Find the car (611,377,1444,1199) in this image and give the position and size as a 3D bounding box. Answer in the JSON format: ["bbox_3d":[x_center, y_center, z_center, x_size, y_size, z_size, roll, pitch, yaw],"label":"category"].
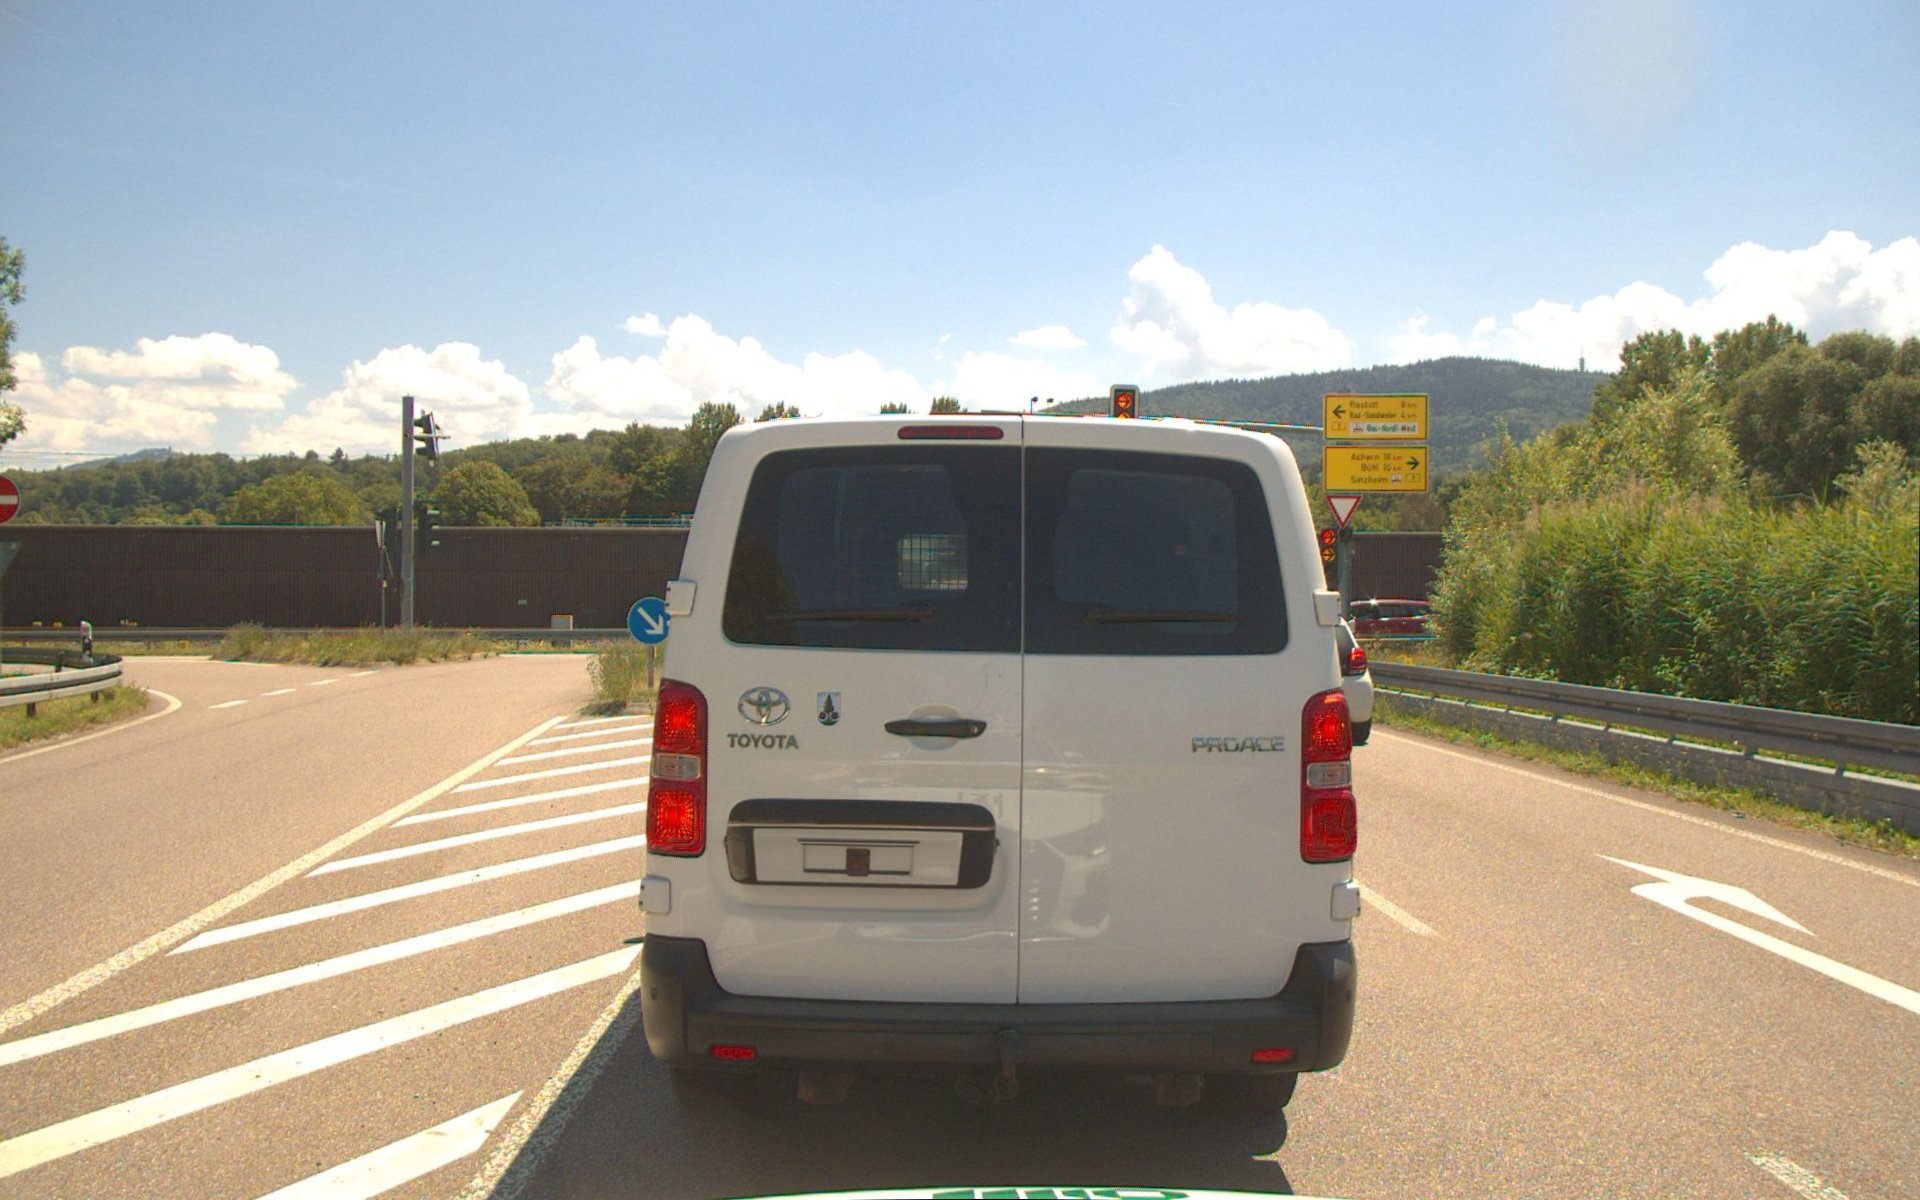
[{"bbox_3d":[0.115,0.482,5.709,1.848,1.919,3.999,1,0,-1],"label":"car"}]

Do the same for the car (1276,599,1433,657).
[{"bbox_3d":[11.890,0.829,49.980,4.225,1.685,1.998,0,0,-4],"label":"car"}]

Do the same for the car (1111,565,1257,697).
[{"bbox_3d":[3.713,0.493,28.237,1.889,2.035,4.838,1,0,1],"label":"car"}]

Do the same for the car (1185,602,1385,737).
[{"bbox_3d":[3.763,0.763,19.678,1.622,1.456,3.364,1,0,-2],"label":"car"}]
